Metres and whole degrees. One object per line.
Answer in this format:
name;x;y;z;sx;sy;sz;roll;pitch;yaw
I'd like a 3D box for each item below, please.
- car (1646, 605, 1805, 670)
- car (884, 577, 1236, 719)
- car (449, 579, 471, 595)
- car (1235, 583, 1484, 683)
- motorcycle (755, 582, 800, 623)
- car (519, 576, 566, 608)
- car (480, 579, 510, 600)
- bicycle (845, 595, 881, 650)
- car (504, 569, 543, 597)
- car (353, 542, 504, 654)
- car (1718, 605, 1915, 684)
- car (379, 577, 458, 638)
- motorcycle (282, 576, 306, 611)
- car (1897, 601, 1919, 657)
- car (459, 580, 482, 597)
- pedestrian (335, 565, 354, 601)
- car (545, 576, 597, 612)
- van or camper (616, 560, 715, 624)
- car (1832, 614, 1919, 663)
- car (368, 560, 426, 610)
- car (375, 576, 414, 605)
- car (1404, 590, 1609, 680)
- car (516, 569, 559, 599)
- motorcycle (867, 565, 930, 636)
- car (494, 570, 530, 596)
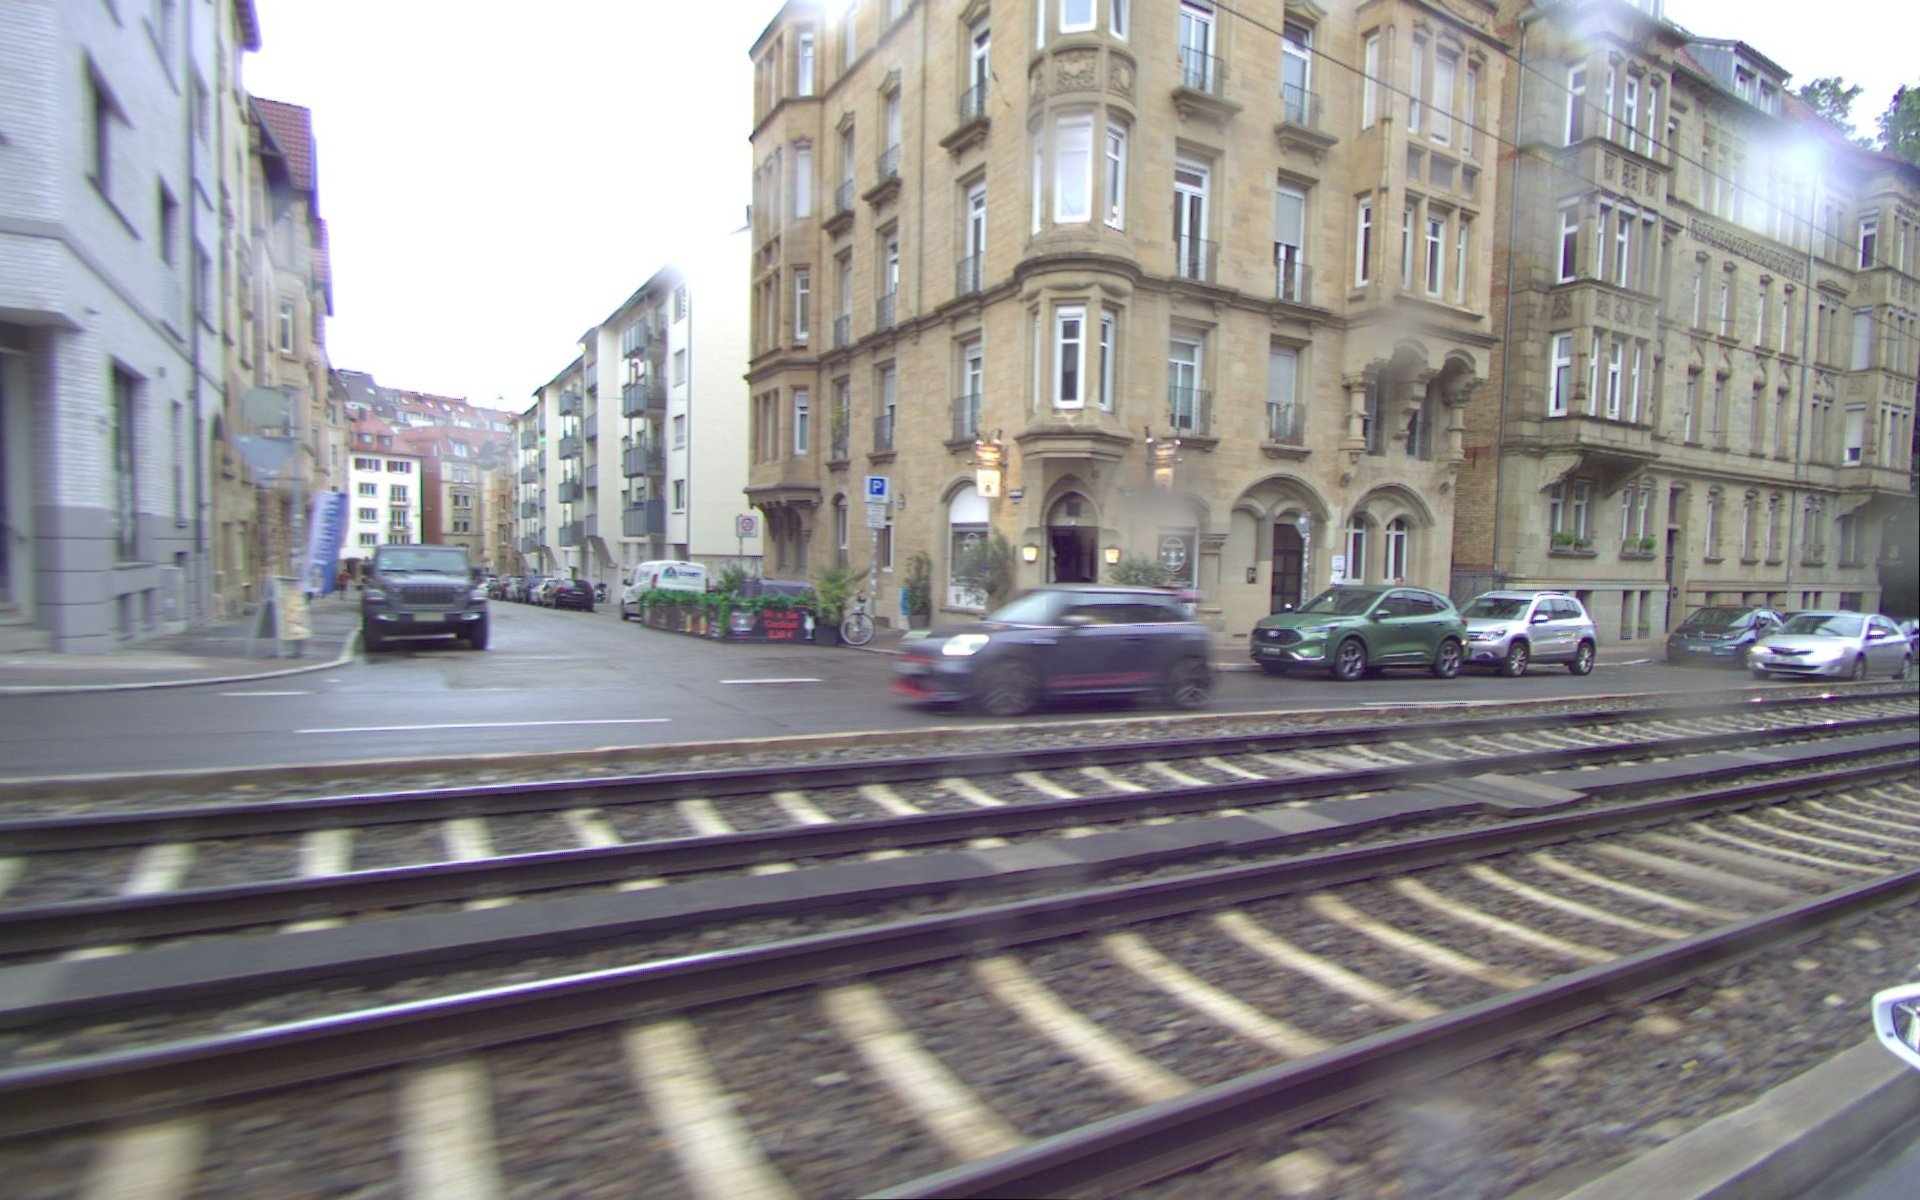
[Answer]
car;19.775;0.946;25.930;4.121;1.528;1.861;1;1;-31
car;1.175;0.498;11.616;3.734;1.406;1.697;1;1;-28
car;-49.826;-1.248;100.025;1.671;1.493;3.754;1;0;-31
car;7.306;0.579;18.276;4.376;1.623;1.850;1;0;-29
motorcycle;-5.854;0.066;32.101;0.699;1.247;2.064;1;0;-31
car;-20.901;-0.386;50.209;1.646;1.557;3.418;1;0;-31
car;-34.216;-0.769;73.945;1.671;1.493;3.755;1;0;-30
bicycle;-2.086;0.468;21.852;0.608;1.134;2.136;1;0;-1
car;-25.858;-0.965;59.449;1.646;1.557;3.418;1;0;-31
car;-9.767;-0.089;18.261;2.013;1.751;4.663;1;1;-33
car;18.157;0.897;21.263;4.247;1.476;1.970;1;0;-32
car;-12.095;0.152;22.365;1.415;1.240;3.495;1;0;-30
motorcycle;-24.403;-0.239;36.810;0.592;1.248;2.015;1;1;-31
car;34.421;1.026;34.669;4.763;1.871;1.791;1;0;-31
car;-45.199;-1.068;92.658;1.671;1.493;3.755;1;0;-30
pedestrian;-35.797;-0.980;58.405;0.892;2.040;0.756;1;1;-31
car;-17.851;-0.272;46.028;1.646;1.557;3.418;1;0;-31
van or camper;-9.079;-0.220;30.797;1.921;1.799;3.931;1;0;-32
car;29.277;1.198;31.516;4.222;1.417;1.753;1;0;-32
car;-23.039;-0.579;41.015;1.927;1.895;4.759;1;0;-30
car;-29.957;-0.483;53.177;1.686;1.409;4.424;1;0;-30
car;11.319;0.688;20.735;4.267;1.674;1.848;1;0;-32
car;-23.240;-0.869;55.199;1.646;1.557;3.418;1;0;-31
motorcycle;-1.519;0.005;24.443;0.616;1.641;2.063;1;0;-32
car;-28.532;-1.058;63.951;1.646;1.557;3.418;1;0;-31
